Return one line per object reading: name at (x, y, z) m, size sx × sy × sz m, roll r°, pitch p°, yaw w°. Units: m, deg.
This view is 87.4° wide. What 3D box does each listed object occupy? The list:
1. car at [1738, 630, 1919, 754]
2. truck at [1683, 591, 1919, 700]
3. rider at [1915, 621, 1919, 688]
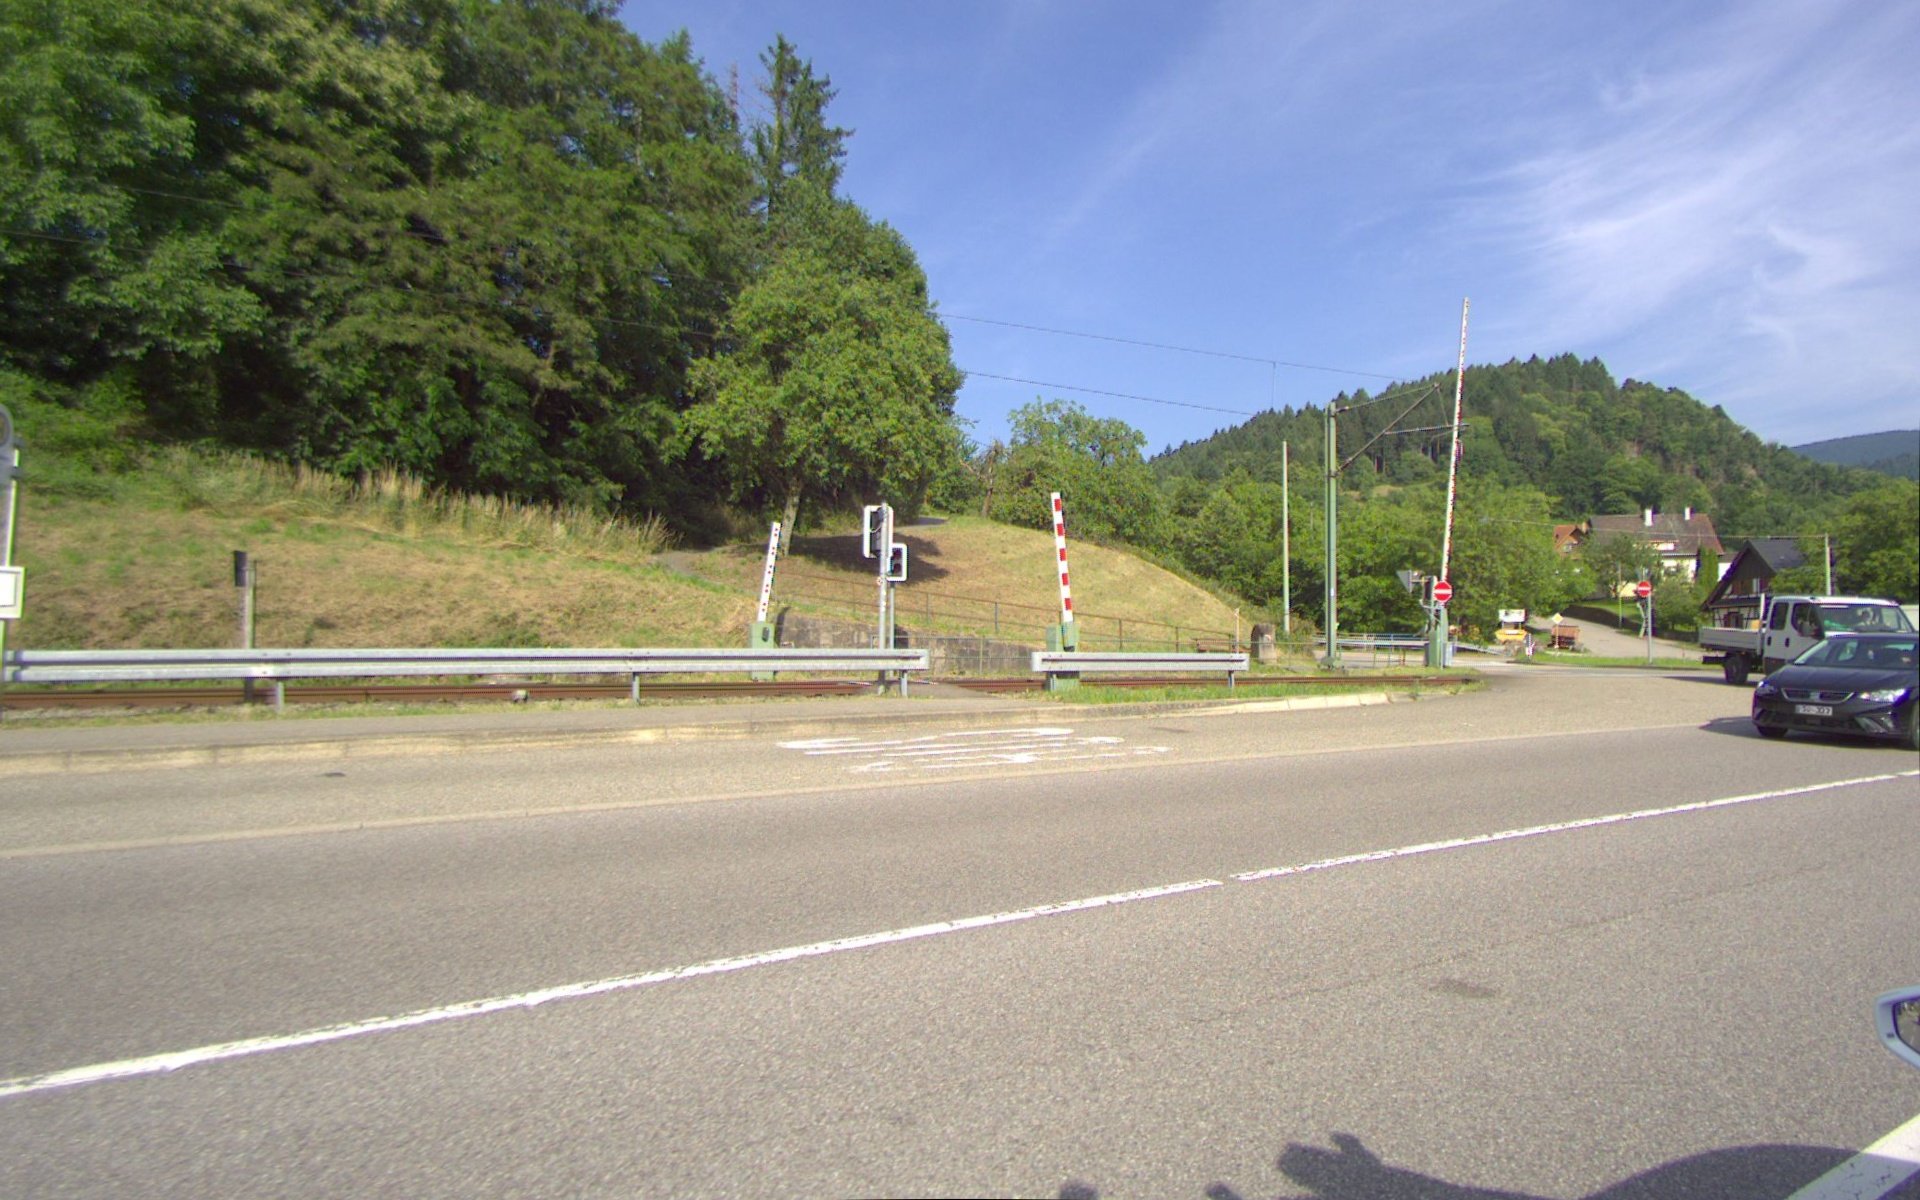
car at (12.502, 1.155, 13.676) m, size 3.741 × 1.435 × 1.764 m, roll 1°, pitch -1°, yaw -30°
truck at (20.179, 1.012, 24.272) m, size 1.959 × 2.296 × 6.007 m, roll 0°, pitch -1°, yaw 10°
rider at (27.045, 1.520, 27.869) m, size 0.738 × 1.843 × 0.745 m, roll 0°, pitch 1°, yaw -44°
